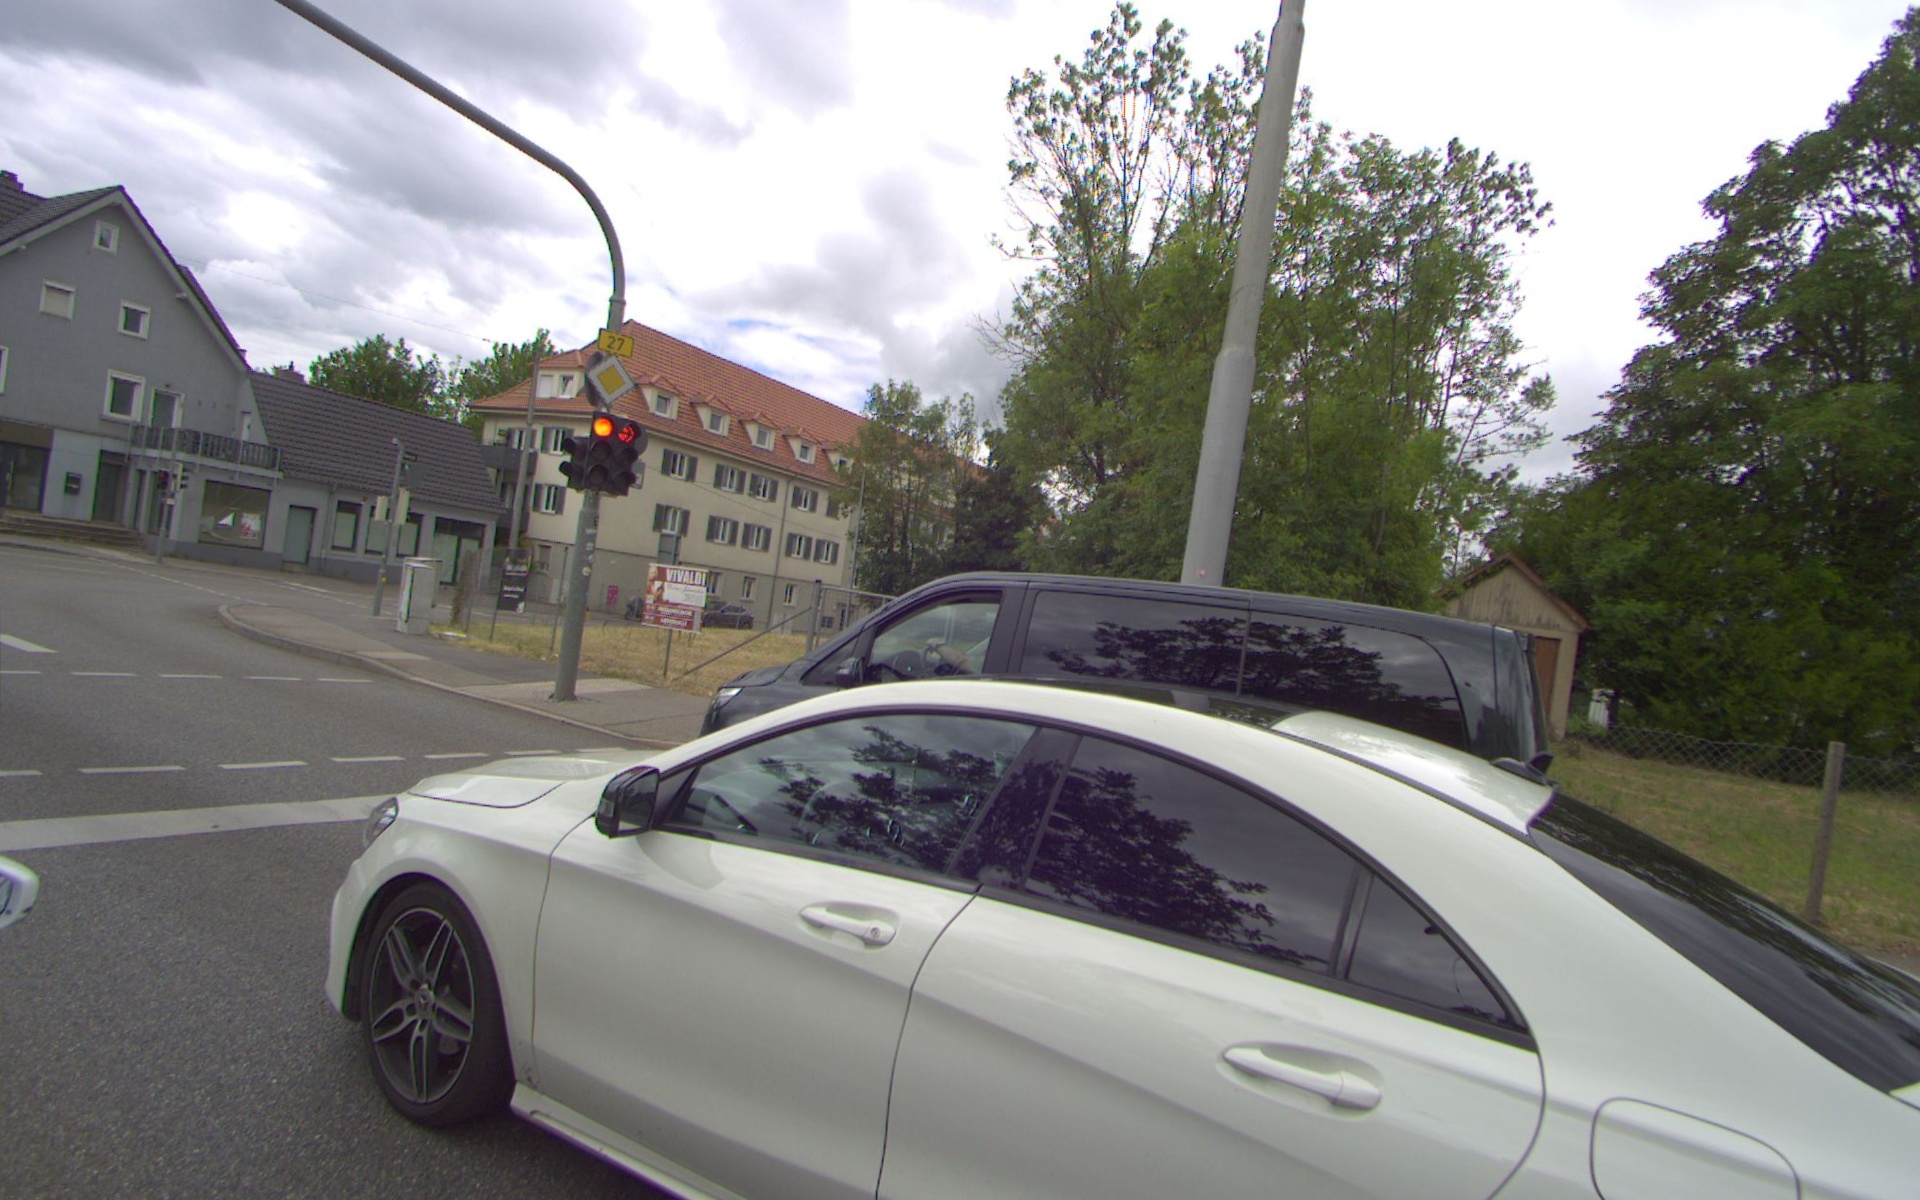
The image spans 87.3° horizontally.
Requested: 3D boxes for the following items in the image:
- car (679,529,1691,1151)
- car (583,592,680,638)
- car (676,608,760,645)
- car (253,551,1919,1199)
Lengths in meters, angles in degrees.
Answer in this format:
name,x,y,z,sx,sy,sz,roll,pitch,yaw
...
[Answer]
name,x,y,z,sx,sy,sz,roll,pitch,yaw
car,0.933,0.840,5.505,4.631,1.860,1.953,7,-2,32
car,-15.518,0.737,47.659,1.839,1.554,3.996,7,-2,32
car,-12.623,1.400,52.647,1.839,1.393,3.996,7,-2,32
car,0.158,0.847,2.638,4.305,1.451,1.651,7,0,32
